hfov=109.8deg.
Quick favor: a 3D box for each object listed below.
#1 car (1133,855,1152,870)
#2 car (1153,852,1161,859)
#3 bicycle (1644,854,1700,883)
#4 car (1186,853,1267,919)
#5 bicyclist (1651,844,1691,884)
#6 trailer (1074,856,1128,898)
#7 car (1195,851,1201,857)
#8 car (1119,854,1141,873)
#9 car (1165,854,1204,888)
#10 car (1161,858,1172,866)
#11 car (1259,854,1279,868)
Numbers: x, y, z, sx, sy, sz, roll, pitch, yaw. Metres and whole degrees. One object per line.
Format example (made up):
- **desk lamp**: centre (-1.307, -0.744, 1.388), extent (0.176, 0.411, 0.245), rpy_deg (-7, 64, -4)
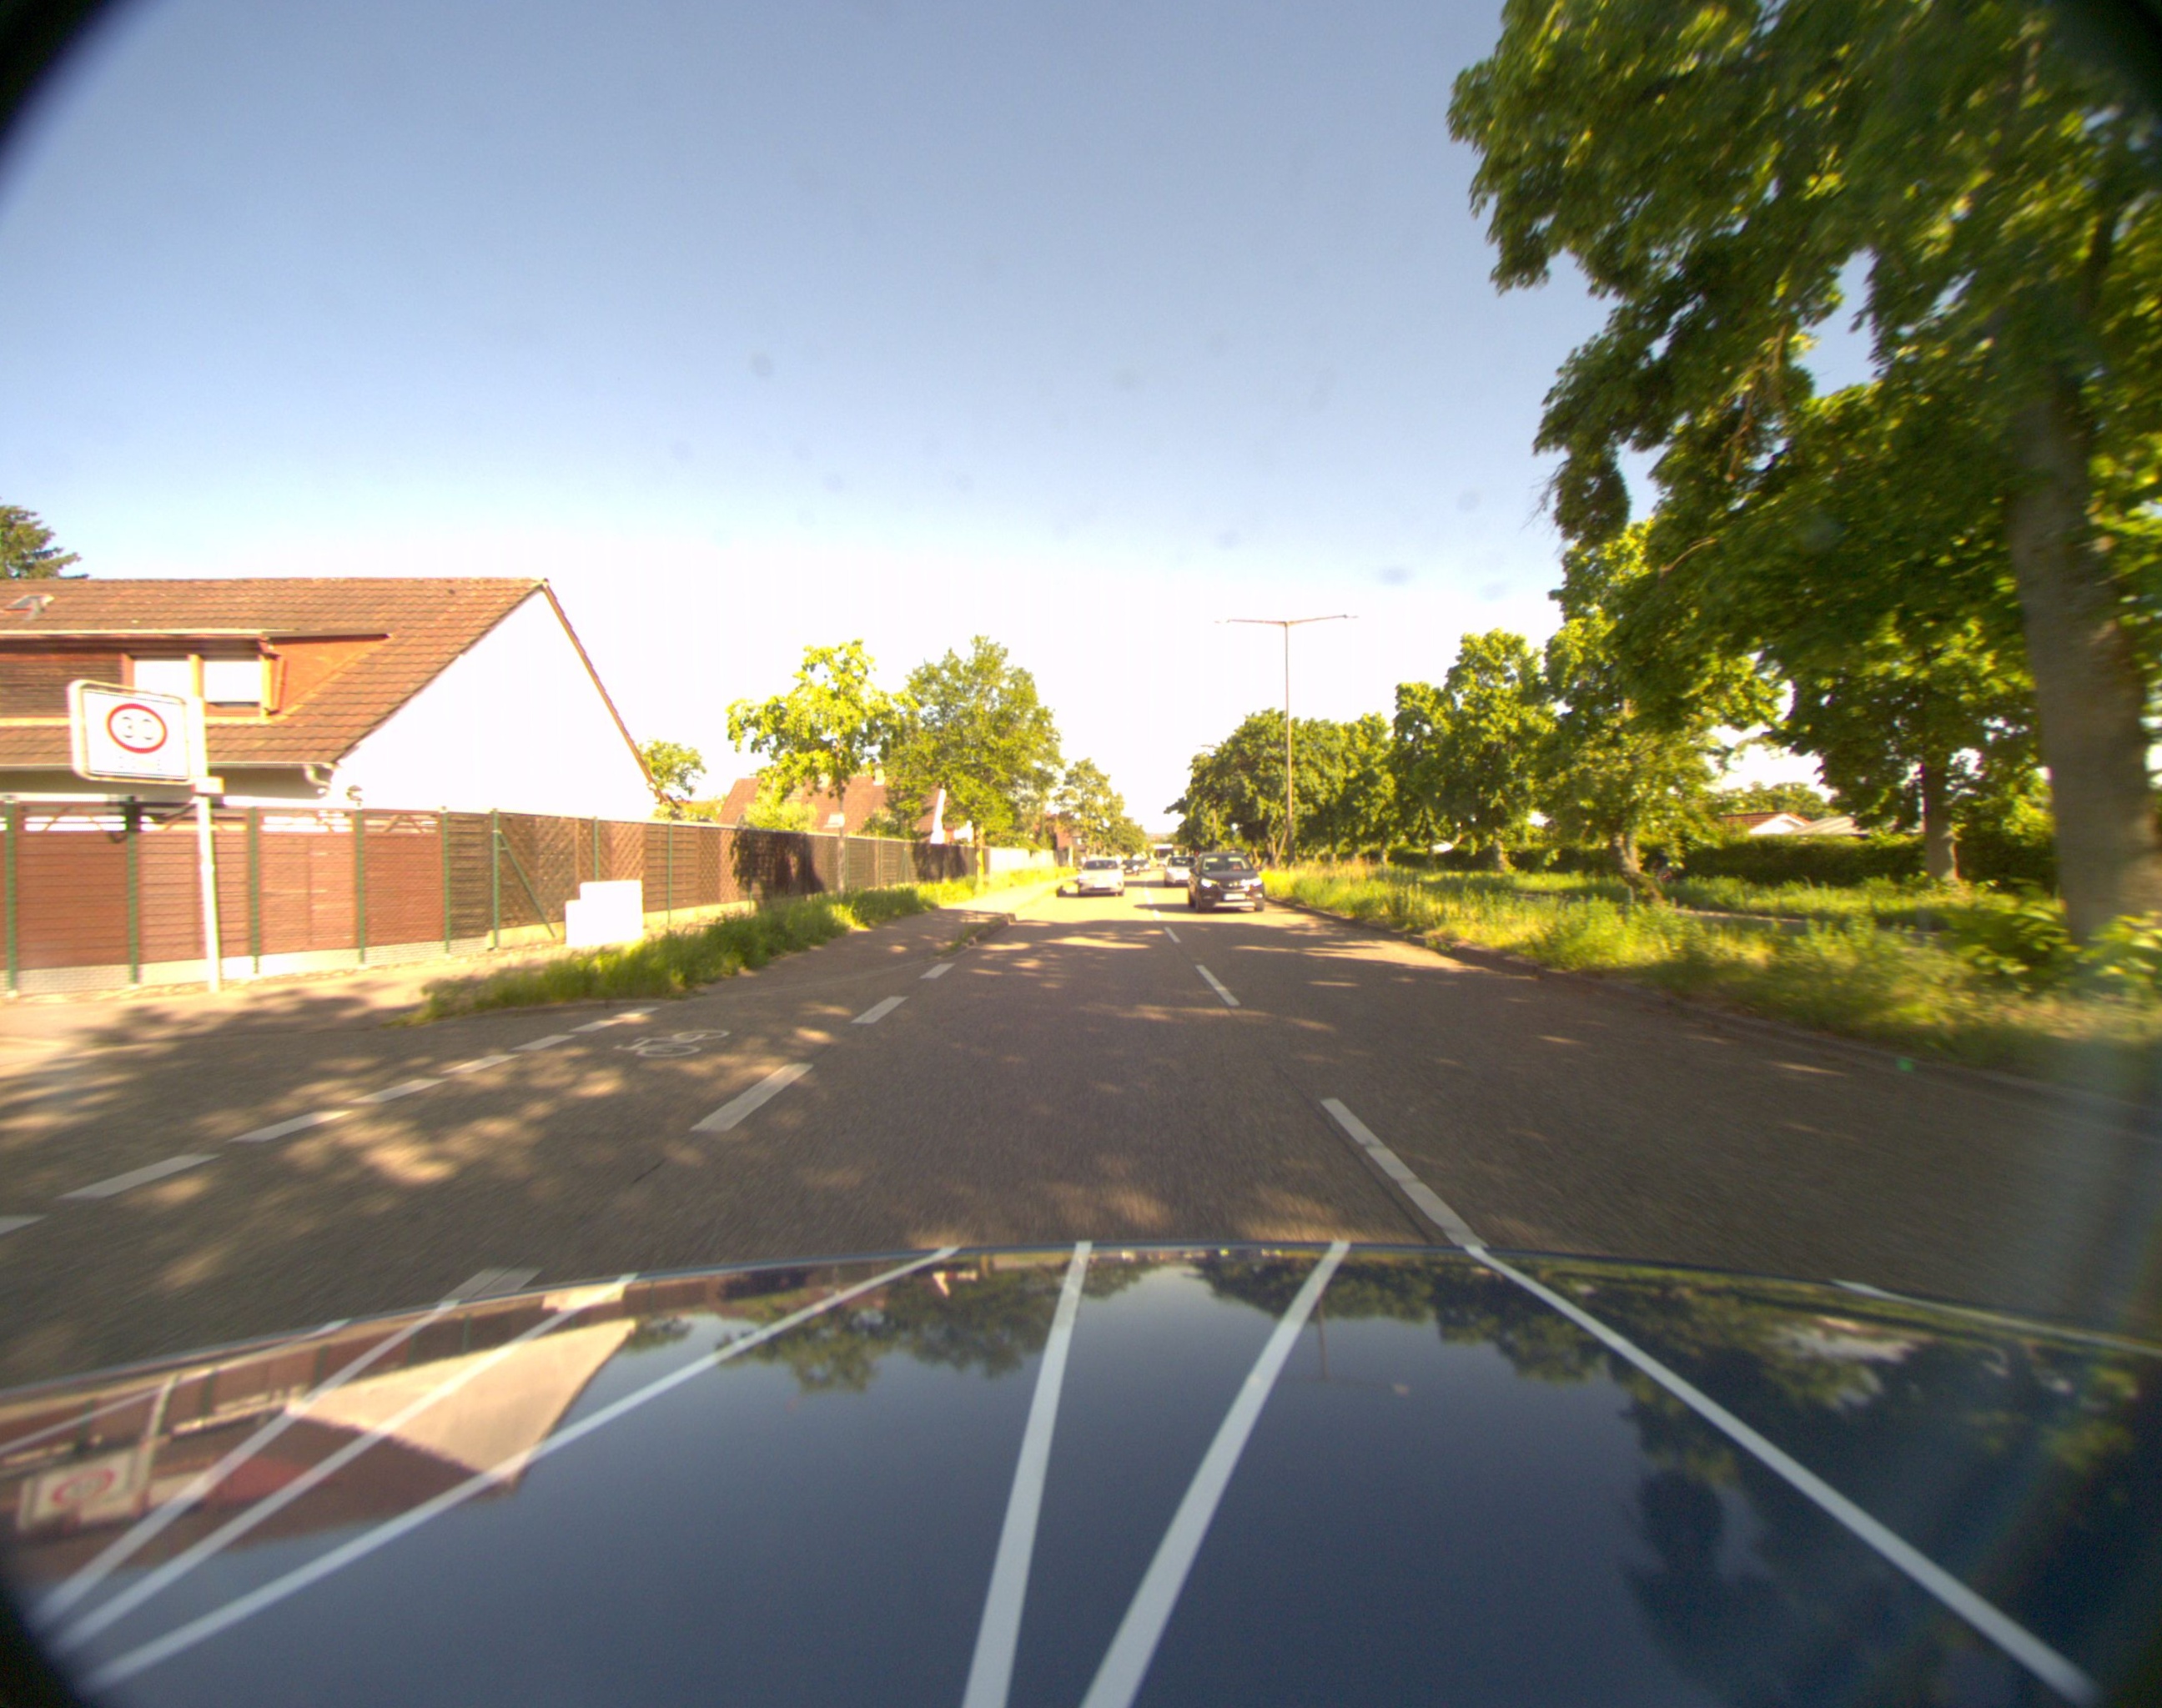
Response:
- **car**: centre (7.106, 0.959, 87.500), extent (1.822, 1.587, 4.275), rpy_deg (-2, 0, 8)
- **car**: centre (22.795, 0.492, 229.288), extent (1.998, 2.069, 4.000), rpy_deg (-3, 0, 1)
- **bicycle**: centre (21.356, 0.504, 27.498), extent (0.691, 0.990, 1.842), rpy_deg (-1, 0, 4)
- **car**: centre (4.040, 0.818, 21.677), extent (1.810, 1.605, 4.515), rpy_deg (-1, 1, 5)
- **bicyclist**: centre (21.369, 0.369, 27.547), extent (0.691, 1.412, 1.000), rpy_deg (-1, 0, 3)
- **trailer**: centre (0.908, 0.919, 32.014), extent (1.896, 1.585, 4.002), rpy_deg (-2, 0, 6)
- **car**: centre (36.085, -0.124, 234.027), extent (1.630, 1.793, 3.573), rpy_deg (-1, 0, 4)
- **car**: centre (4.423, 0.832, 68.734), extent (1.823, 1.553, 4.273), rpy_deg (-1, 1, 5)
- **car**: centre (5.261, 0.818, 38.916), extent (1.823, 1.553, 4.648), rpy_deg (-1, 0, 6)
- **car**: centre (17.642, 1.643, 156.948), extent (1.998, 1.674, 4.000), rpy_deg (-1, 0, 1)
- **car**: centre (24.042, 0.900, 97.334), extent (1.942, 1.647, 4.002), rpy_deg (-3, 0, 7)
